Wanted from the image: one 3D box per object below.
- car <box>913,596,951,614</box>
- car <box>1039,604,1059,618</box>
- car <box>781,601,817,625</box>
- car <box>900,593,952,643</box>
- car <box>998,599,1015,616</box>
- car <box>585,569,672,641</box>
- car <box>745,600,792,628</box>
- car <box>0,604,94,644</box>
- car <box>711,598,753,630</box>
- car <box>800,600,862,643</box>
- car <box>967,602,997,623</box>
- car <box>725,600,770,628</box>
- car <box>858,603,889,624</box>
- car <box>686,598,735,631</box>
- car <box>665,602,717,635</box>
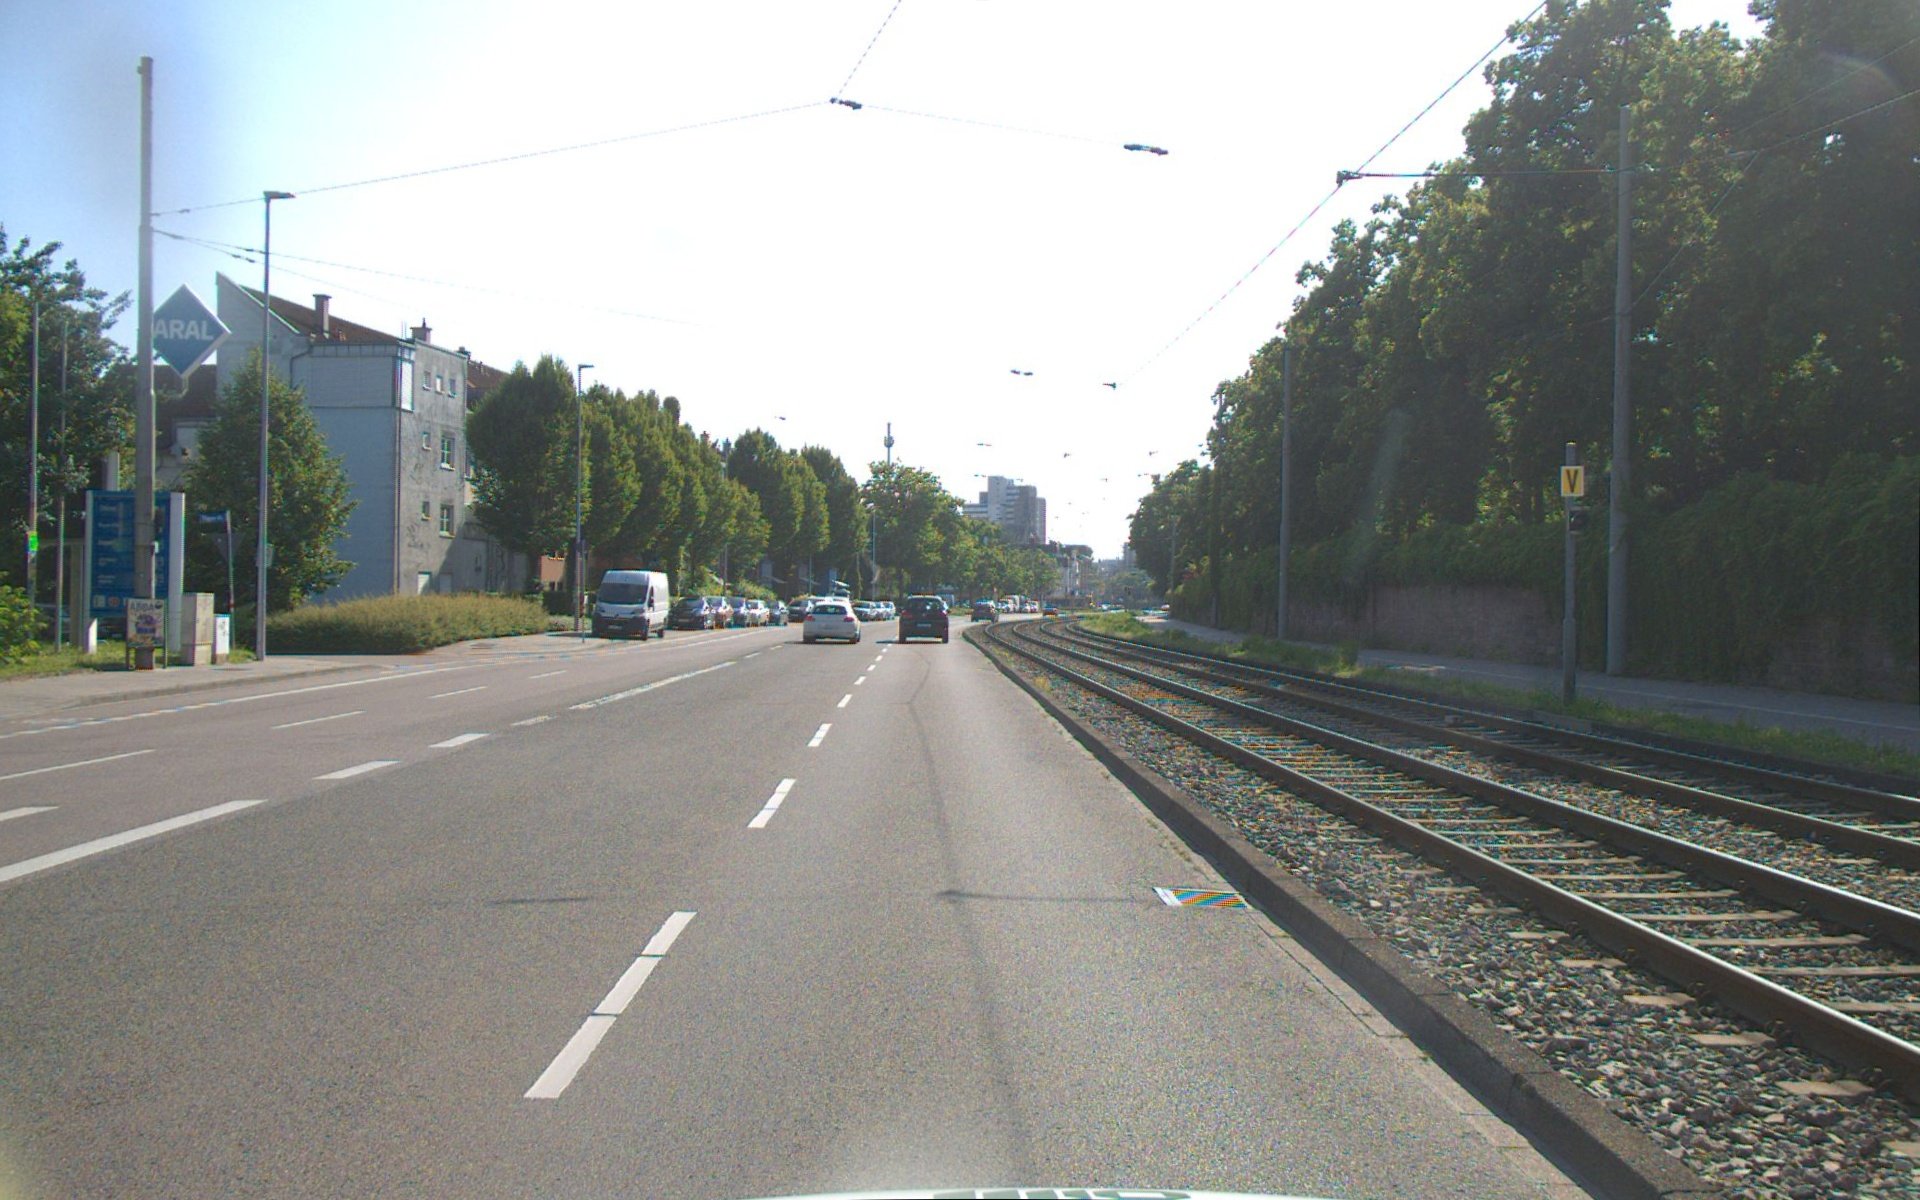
[{"bbox_3d":[-3.998,0.697,237.110,5.261,2.466,2.089,0,0,8],"label":"car"},{"bbox_3d":[10.061,1.279,186.860,1.773,1.474,4.003,2,0,11],"label":"car"},{"bbox_3d":[-10.850,0.871,111.631,1.582,1.491,4.060,2,0,5],"label":"car"},{"bbox_3d":[-1.217,0.642,59.824,1.774,1.673,3.999,2,-1,-1],"label":"car"},{"bbox_3d":[6.831,1.108,242.457,1.823,2.389,4.989,0,0,9],"label":"car"},{"bbox_3d":[-12.527,0.163,62.874,2.109,2.500,6.181,3,0,-2],"label":"car"},{"bbox_3d":[-11.586,0.841,100.293,1.827,1.571,4.912,3,0,4],"label":"car"},{"bbox_3d":[-31.705,0.808,56.271,3.702,1.290,1.746,1,0,11],"label":"car"},{"bbox_3d":[-12.261,0.734,89.060,1.727,1.601,4.435,2,0,-2],"label":"car"},{"bbox_3d":[-4.317,0.696,55.921,1.827,1.371,3.999,1,0,-1],"label":"car"},{"bbox_3d":[1.684,0.920,123.502,1.773,1.474,4.003,2,0,7],"label":"car"},{"bbox_3d":[-12.104,0.830,94.426,1.677,1.497,4.845,3,-1,2],"label":"car"},{"bbox_3d":[-7.178,1.104,137.929,1.726,1.565,3.984,5,0,8],"label":"car"},{"bbox_3d":[-12.535,0.743,83.276,1.726,1.601,4.162,1,-1,1],"label":"car"},{"bbox_3d":[-12.601,0.852,77.655,1.618,1.449,4.713,1,0,1],"label":"car"}]
